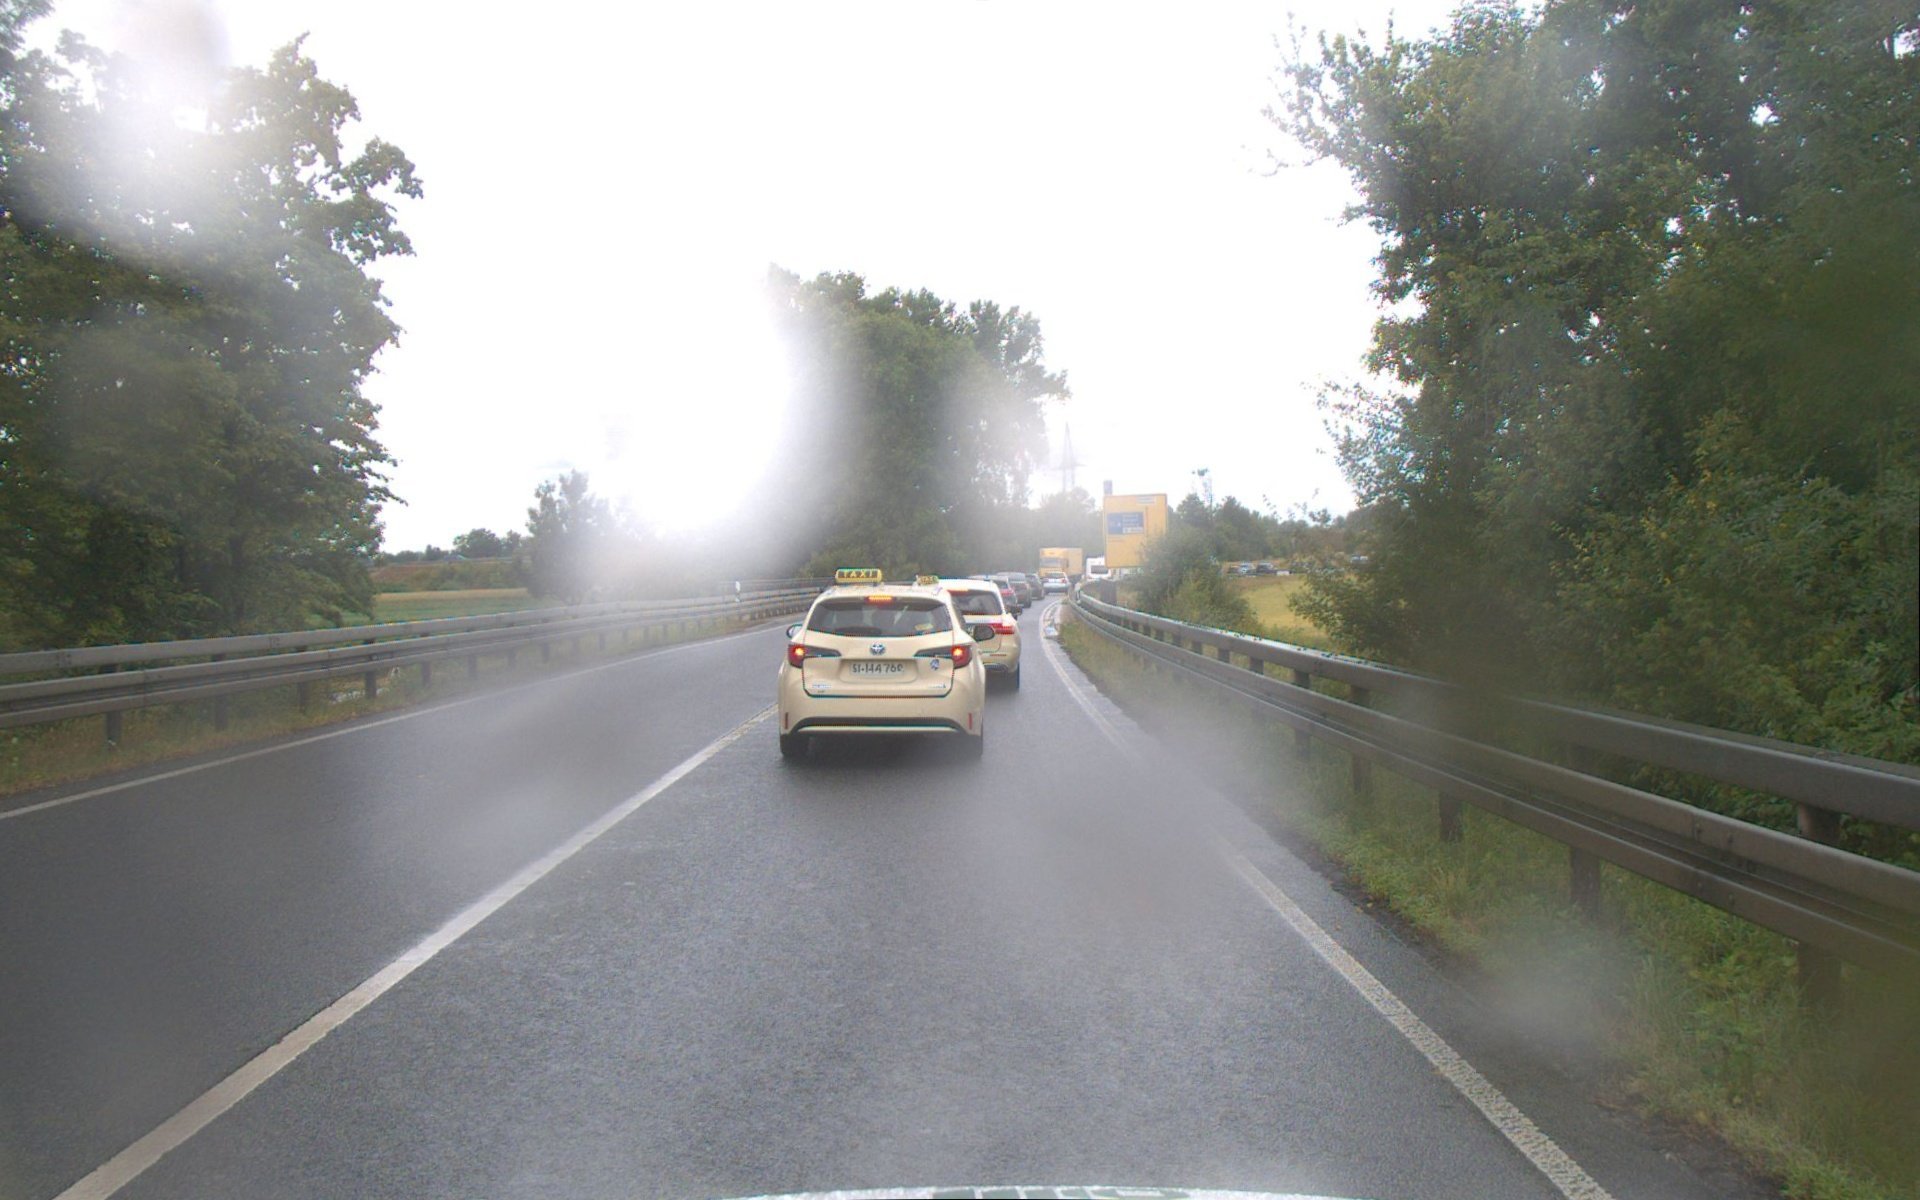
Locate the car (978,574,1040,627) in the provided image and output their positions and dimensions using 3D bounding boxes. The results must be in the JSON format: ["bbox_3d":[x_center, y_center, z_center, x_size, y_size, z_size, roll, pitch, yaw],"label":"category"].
[{"bbox_3d":[1.380,-0.009,47.760,1.631,1.489,3.476,0,1,-1],"label":"car"}]

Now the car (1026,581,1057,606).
[{"bbox_3d":[4.504,-0.369,90.746,1.451,1.332,3.480,0,1,7],"label":"car"}]

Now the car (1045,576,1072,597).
[{"bbox_3d":[6.427,-0.869,107.866,1.451,1.332,3.480,0,1,8],"label":"car"}]

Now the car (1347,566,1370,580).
[{"bbox_3d":[60.474,-4.045,251.110,2.104,2.049,3.986,1,0,35],"label":"car"}]

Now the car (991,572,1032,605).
[{"bbox_3d":[2.281,-0.488,72.659,1.625,1.434,3.906,0,0,4],"label":"car"}]

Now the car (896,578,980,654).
[{"bbox_3d":[-0.407,0.295,34.055,1.474,1.462,3.357,1,1,3],"label":"car"}]

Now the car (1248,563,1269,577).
[{"bbox_3d":[39.384,-3.941,218.170,1.782,1.870,3.986,1,0,25],"label":"car"}]

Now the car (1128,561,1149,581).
[{"bbox_3d":[16.924,-2.726,156.844,1.695,1.851,4.004,1,0,10],"label":"car"}]

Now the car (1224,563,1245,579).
[{"bbox_3d":[34.092,-3.604,205.085,1.880,1.870,4.001,1,0,20],"label":"car"}]

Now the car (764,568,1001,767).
[{"bbox_3d":[-0.608,0.511,15.144,1.867,1.564,4.161,0,1,0],"label":"car"}]

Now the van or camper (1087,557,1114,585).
[{"bbox_3d":[11.615,-2.399,136.802,1.951,2.293,4.003,1,0,9],"label":"van or camper"}]

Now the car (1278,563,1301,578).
[{"bbox_3d":[45.271,-4.039,227.260,1.957,2.049,3.991,1,0,31],"label":"car"}]

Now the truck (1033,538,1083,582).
[{"bbox_3d":[8.507,-3.471,142.220,2.712,3.488,9.197,3,3,13],"label":"truck"}]

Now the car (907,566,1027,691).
[{"bbox_3d":[0.131,0.338,23.131,1.545,1.600,3.682,0,1,1],"label":"car"}]
